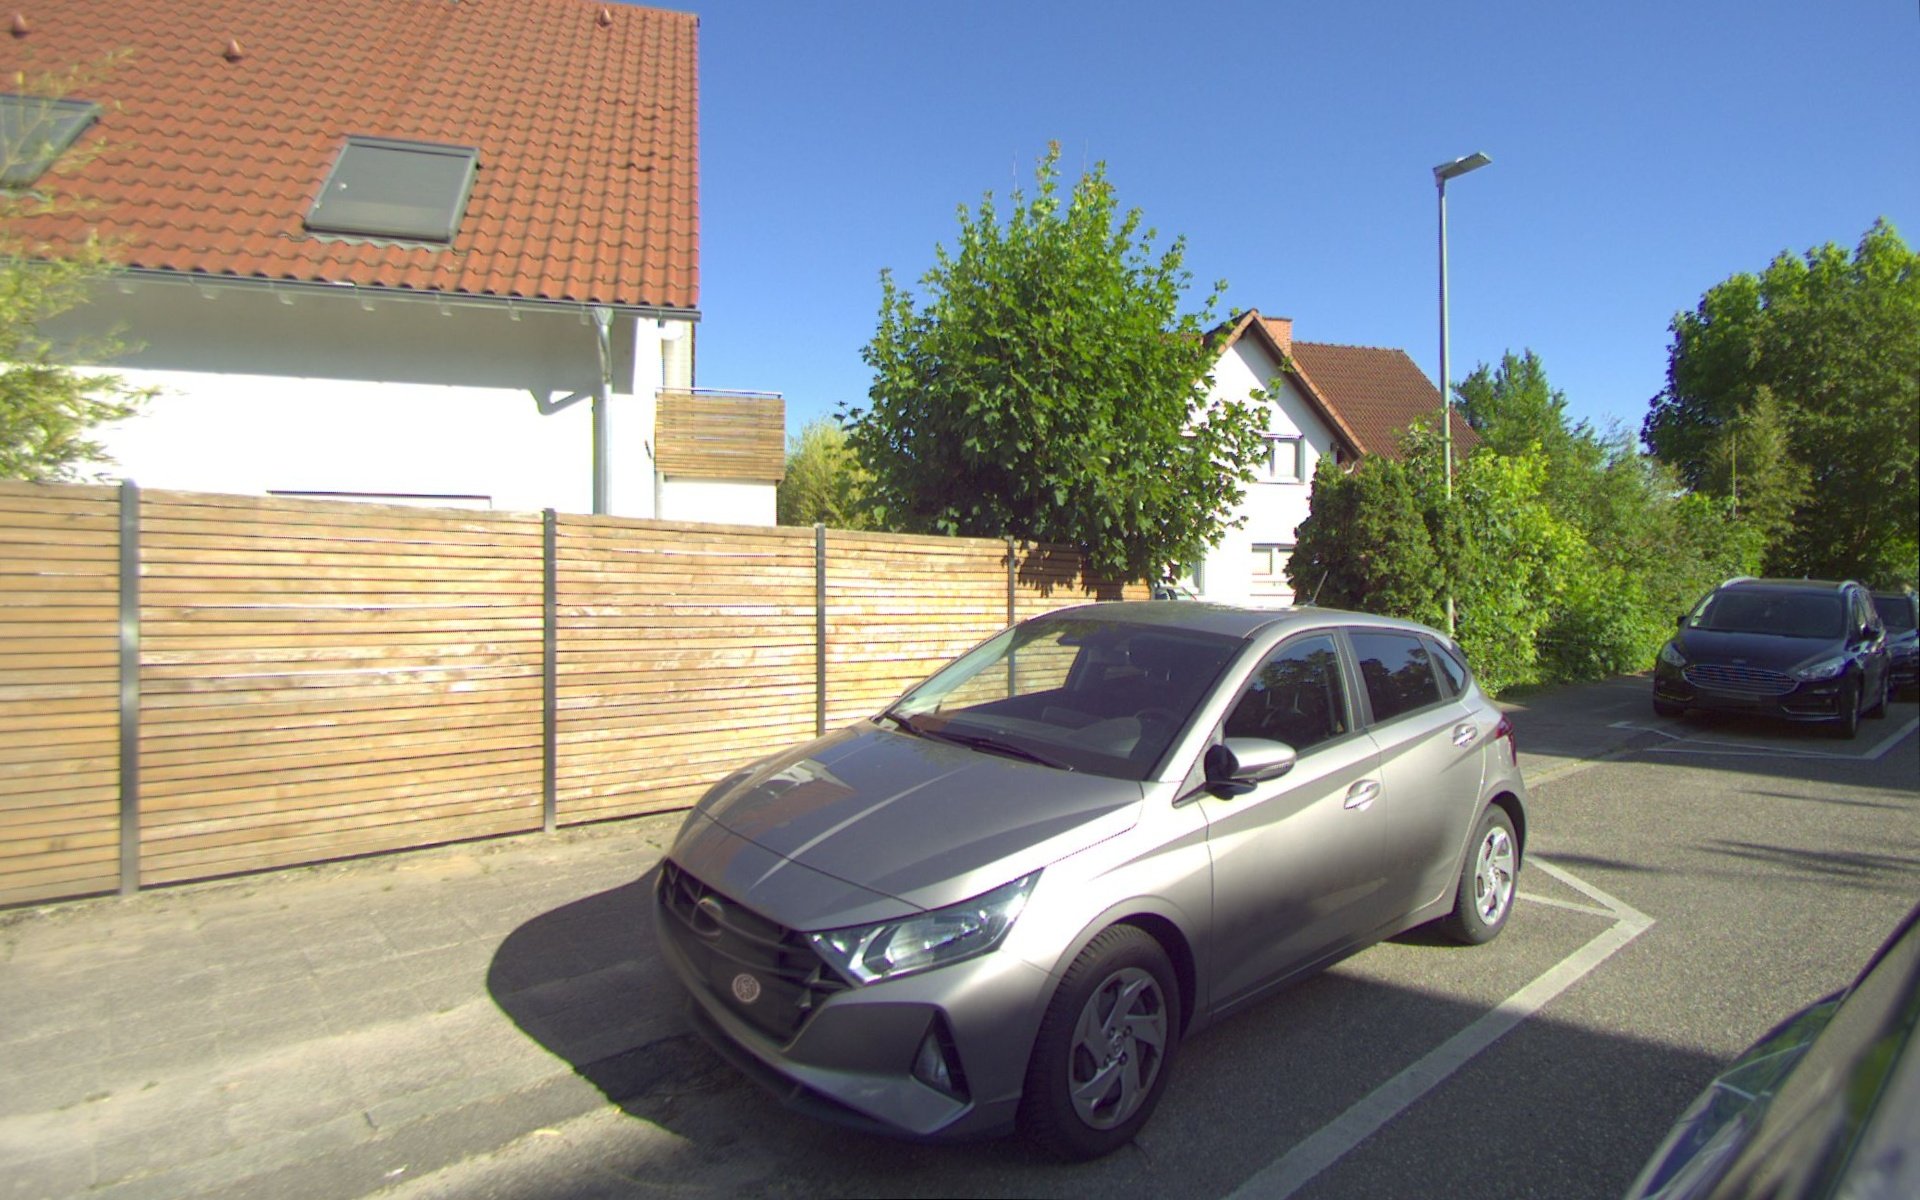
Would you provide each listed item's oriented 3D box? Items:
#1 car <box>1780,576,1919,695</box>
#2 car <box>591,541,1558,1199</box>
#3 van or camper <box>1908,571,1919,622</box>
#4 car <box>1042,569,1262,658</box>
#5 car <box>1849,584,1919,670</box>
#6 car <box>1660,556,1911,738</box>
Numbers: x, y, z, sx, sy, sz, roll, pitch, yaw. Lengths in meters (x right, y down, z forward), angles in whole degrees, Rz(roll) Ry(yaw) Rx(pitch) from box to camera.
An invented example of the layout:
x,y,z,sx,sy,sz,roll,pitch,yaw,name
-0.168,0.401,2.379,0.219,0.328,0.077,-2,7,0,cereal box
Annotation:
x,y,z,sx,sy,sz,roll,pitch,yaw,name
14.996,0.493,16.485,4.316,1.697,1.766,0,1,-40,car
0.738,0.610,4.019,3.820,1.512,1.645,0,1,-40,car
39.703,-0.110,39.244,1.910,2.039,3.861,0,1,-14,van or camper
3.645,0.171,20.507,2.467,1.558,5.106,0,1,-14,car
19.659,0.504,20.256,4.573,1.583,1.769,0,1,-35,car
10.179,0.453,12.353,4.354,1.836,1.745,0,1,-42,car
